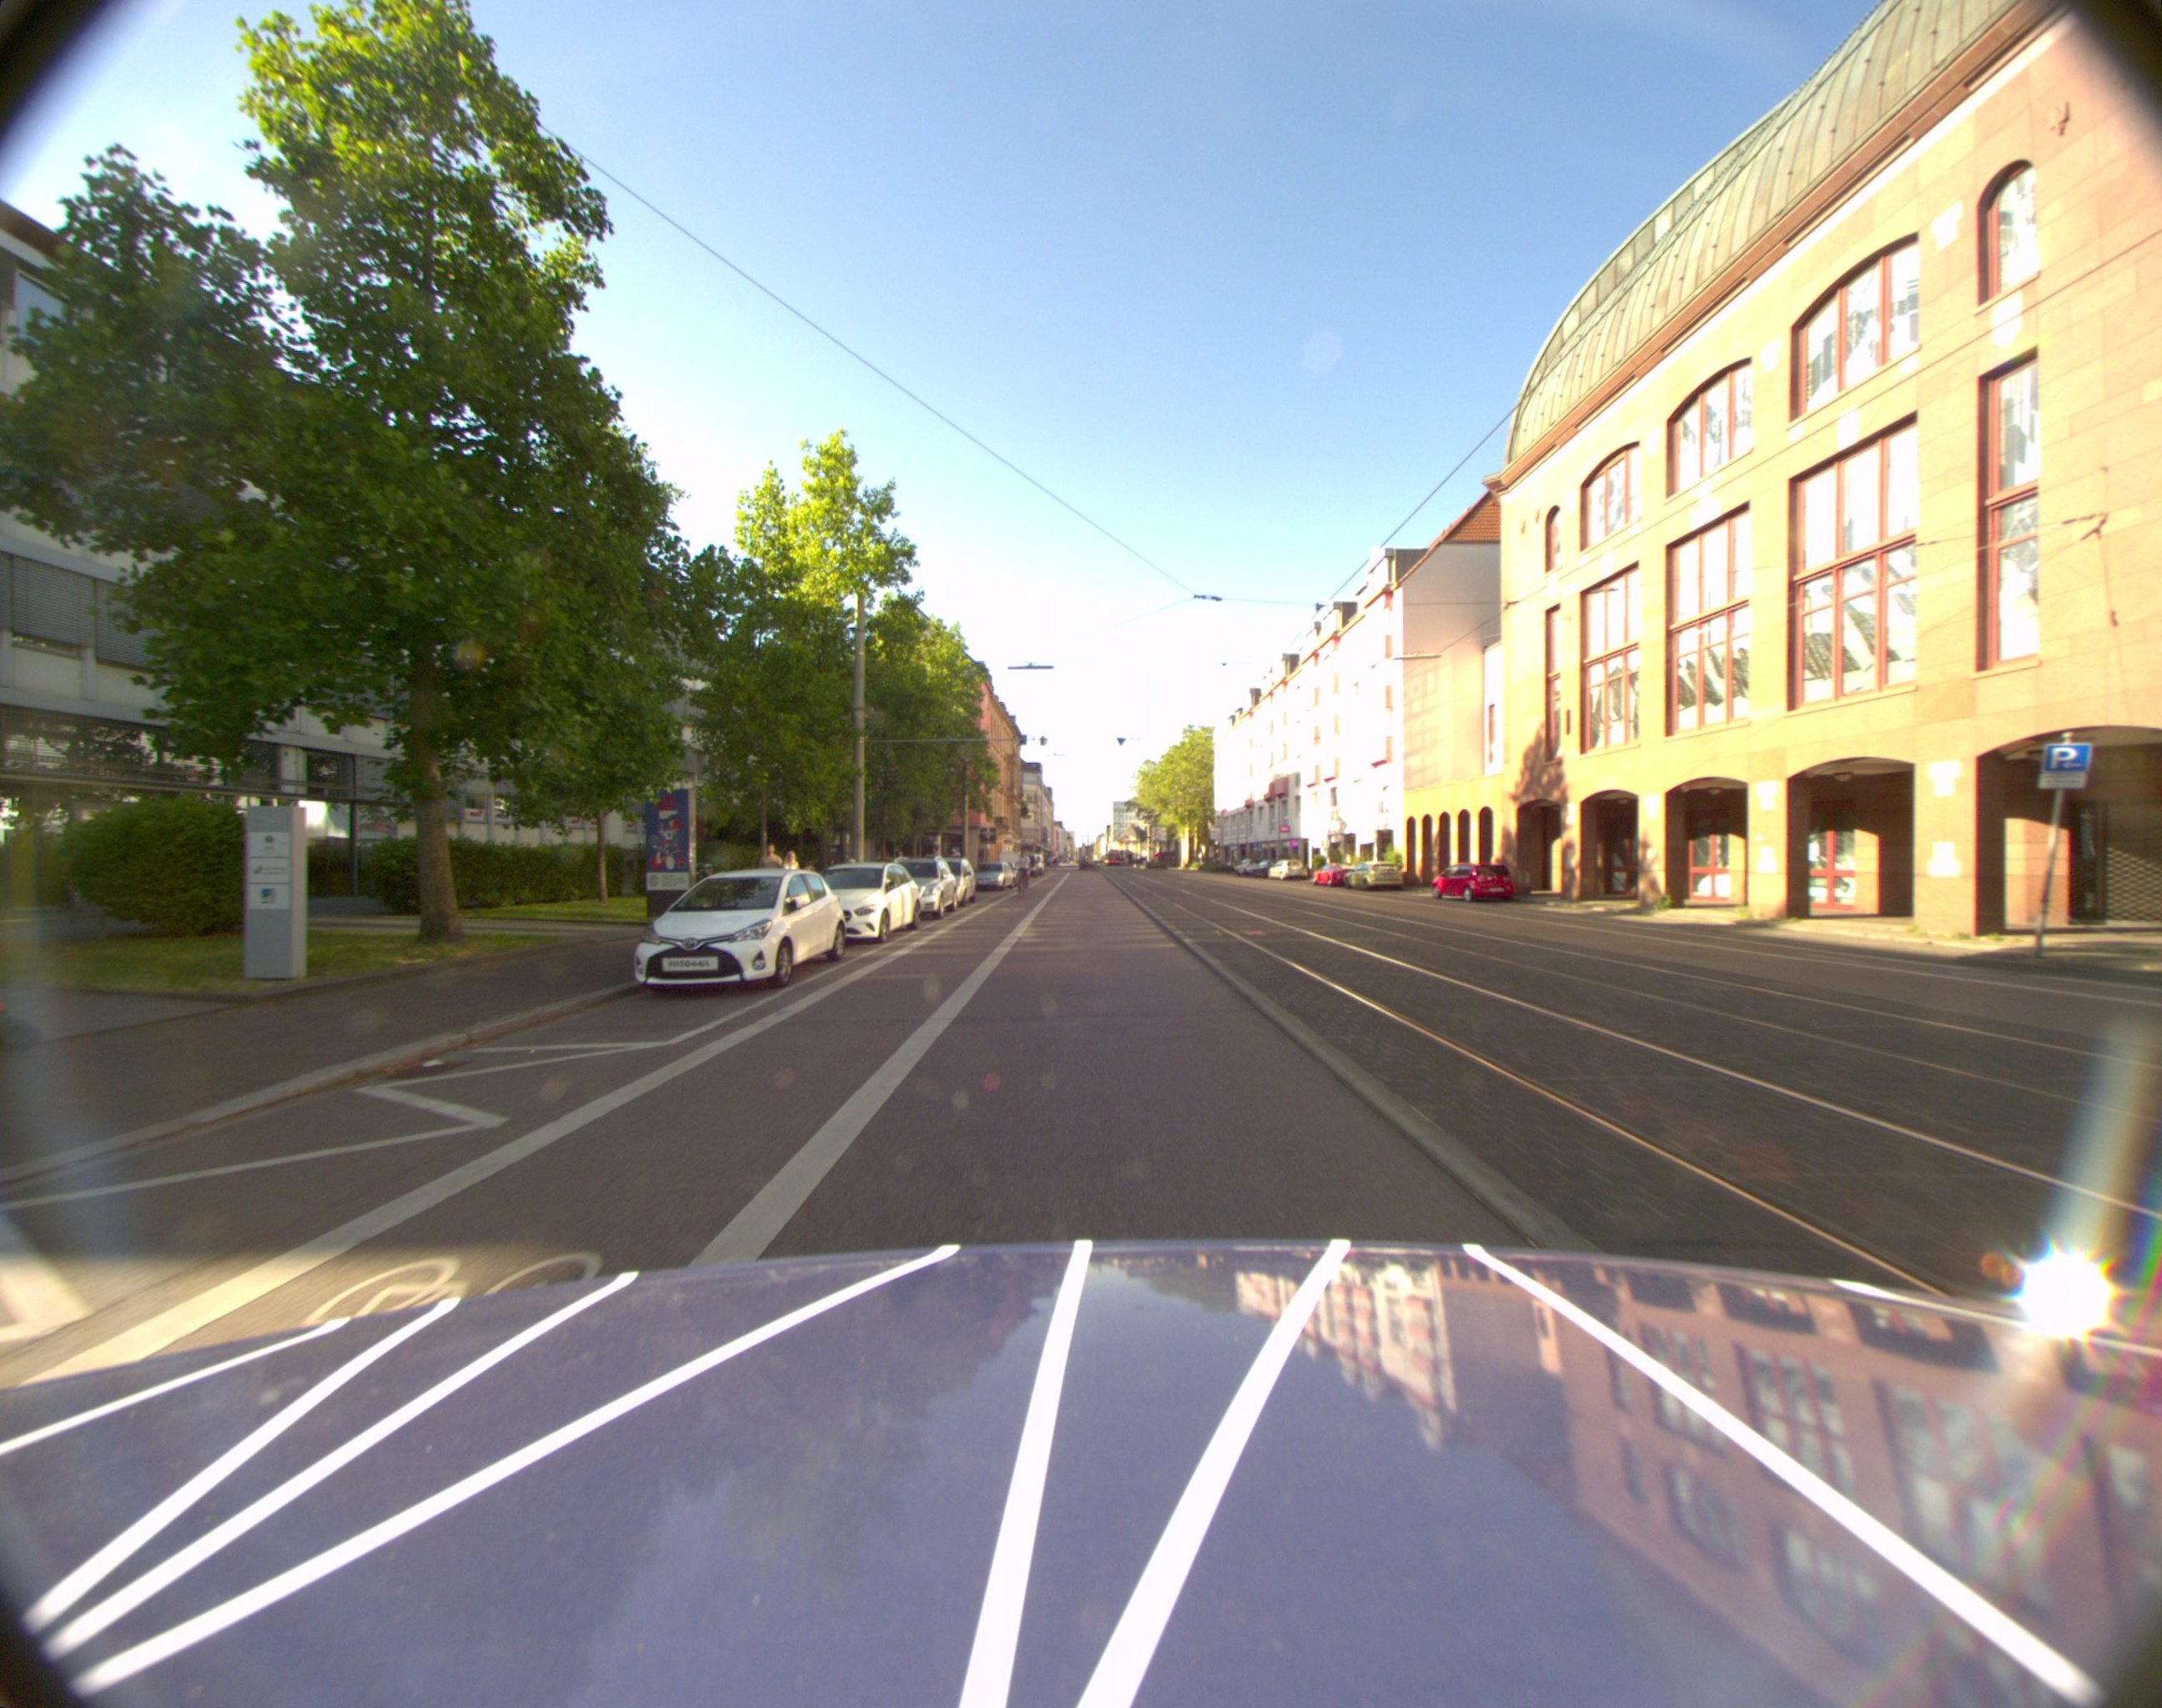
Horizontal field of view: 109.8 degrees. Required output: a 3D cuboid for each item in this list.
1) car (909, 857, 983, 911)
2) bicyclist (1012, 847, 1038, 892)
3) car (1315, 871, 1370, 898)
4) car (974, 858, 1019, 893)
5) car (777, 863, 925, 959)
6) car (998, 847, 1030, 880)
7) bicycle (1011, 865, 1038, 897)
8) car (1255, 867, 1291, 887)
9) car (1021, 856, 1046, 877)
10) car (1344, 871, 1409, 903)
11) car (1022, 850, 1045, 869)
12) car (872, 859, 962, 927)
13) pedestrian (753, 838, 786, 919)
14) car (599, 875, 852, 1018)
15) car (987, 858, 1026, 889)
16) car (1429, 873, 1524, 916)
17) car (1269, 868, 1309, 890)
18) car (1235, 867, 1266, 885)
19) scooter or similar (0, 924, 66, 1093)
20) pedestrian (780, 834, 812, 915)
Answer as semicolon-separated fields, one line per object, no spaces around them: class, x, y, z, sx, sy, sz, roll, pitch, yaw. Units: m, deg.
car;-4.562;0.974;26.214;1.733;1.542;4.114;-2;1;0
bicyclist;-2.297;0.620;31.142;0.895;1.755;1.030;-2;1;1
car;14.966;1.719;43.708;1.856;1.346;3.853;-1;0;1
car;-4.177;1.048;38.144;1.733;1.474;4.114;-2;1;0
car;-4.561;1.047;15.711;1.733;1.568;4.115;-2;1;0
car;-4.556;0.612;52.042;1.733;2.038;4.114;-2;1;0
bicycle;-2.281;1.097;31.064;0.889;1.155;2.078;-2;1;1
car;15.122;1.775;59.917;1.856;1.445;3.853;-1;0;1
car;-3.827;0.964;62.005;1.733;1.474;4.252;-2;1;0
car;15.001;1.628;38.777;1.856;1.445;3.853;-1;0;1
car;-4.201;0.444;67.893;1.733;1.474;4.114;-2;1;0
car;-4.485;1.002;21.355;1.733;1.586;4.114;-2;1;-2
pedestrian;-7.909;0.609;19.321;0.508;2.002;0.574;-2;2;1
car;-4.640;1.111;10.622;1.733;1.474;3.863;-2;0;-1
car;-4.239;1.087;43.626;1.733;1.474;4.114;-2;1;0
car;15.050;1.507;29.115;1.753;1.445;3.471;-1;0;-1
car;15.062;1.756;55.081;1.856;1.445;3.853;-1;0;1
car;15.008;1.965;67.452;1.856;1.445;3.853;-1;0;1
scooter or similar;-8.375;1.175;5.375;0.582;1.202;1.313;3;1;2
pedestrian;-7.220;0.504;19.250;0.508;2.002;0.574;-2;2;1
